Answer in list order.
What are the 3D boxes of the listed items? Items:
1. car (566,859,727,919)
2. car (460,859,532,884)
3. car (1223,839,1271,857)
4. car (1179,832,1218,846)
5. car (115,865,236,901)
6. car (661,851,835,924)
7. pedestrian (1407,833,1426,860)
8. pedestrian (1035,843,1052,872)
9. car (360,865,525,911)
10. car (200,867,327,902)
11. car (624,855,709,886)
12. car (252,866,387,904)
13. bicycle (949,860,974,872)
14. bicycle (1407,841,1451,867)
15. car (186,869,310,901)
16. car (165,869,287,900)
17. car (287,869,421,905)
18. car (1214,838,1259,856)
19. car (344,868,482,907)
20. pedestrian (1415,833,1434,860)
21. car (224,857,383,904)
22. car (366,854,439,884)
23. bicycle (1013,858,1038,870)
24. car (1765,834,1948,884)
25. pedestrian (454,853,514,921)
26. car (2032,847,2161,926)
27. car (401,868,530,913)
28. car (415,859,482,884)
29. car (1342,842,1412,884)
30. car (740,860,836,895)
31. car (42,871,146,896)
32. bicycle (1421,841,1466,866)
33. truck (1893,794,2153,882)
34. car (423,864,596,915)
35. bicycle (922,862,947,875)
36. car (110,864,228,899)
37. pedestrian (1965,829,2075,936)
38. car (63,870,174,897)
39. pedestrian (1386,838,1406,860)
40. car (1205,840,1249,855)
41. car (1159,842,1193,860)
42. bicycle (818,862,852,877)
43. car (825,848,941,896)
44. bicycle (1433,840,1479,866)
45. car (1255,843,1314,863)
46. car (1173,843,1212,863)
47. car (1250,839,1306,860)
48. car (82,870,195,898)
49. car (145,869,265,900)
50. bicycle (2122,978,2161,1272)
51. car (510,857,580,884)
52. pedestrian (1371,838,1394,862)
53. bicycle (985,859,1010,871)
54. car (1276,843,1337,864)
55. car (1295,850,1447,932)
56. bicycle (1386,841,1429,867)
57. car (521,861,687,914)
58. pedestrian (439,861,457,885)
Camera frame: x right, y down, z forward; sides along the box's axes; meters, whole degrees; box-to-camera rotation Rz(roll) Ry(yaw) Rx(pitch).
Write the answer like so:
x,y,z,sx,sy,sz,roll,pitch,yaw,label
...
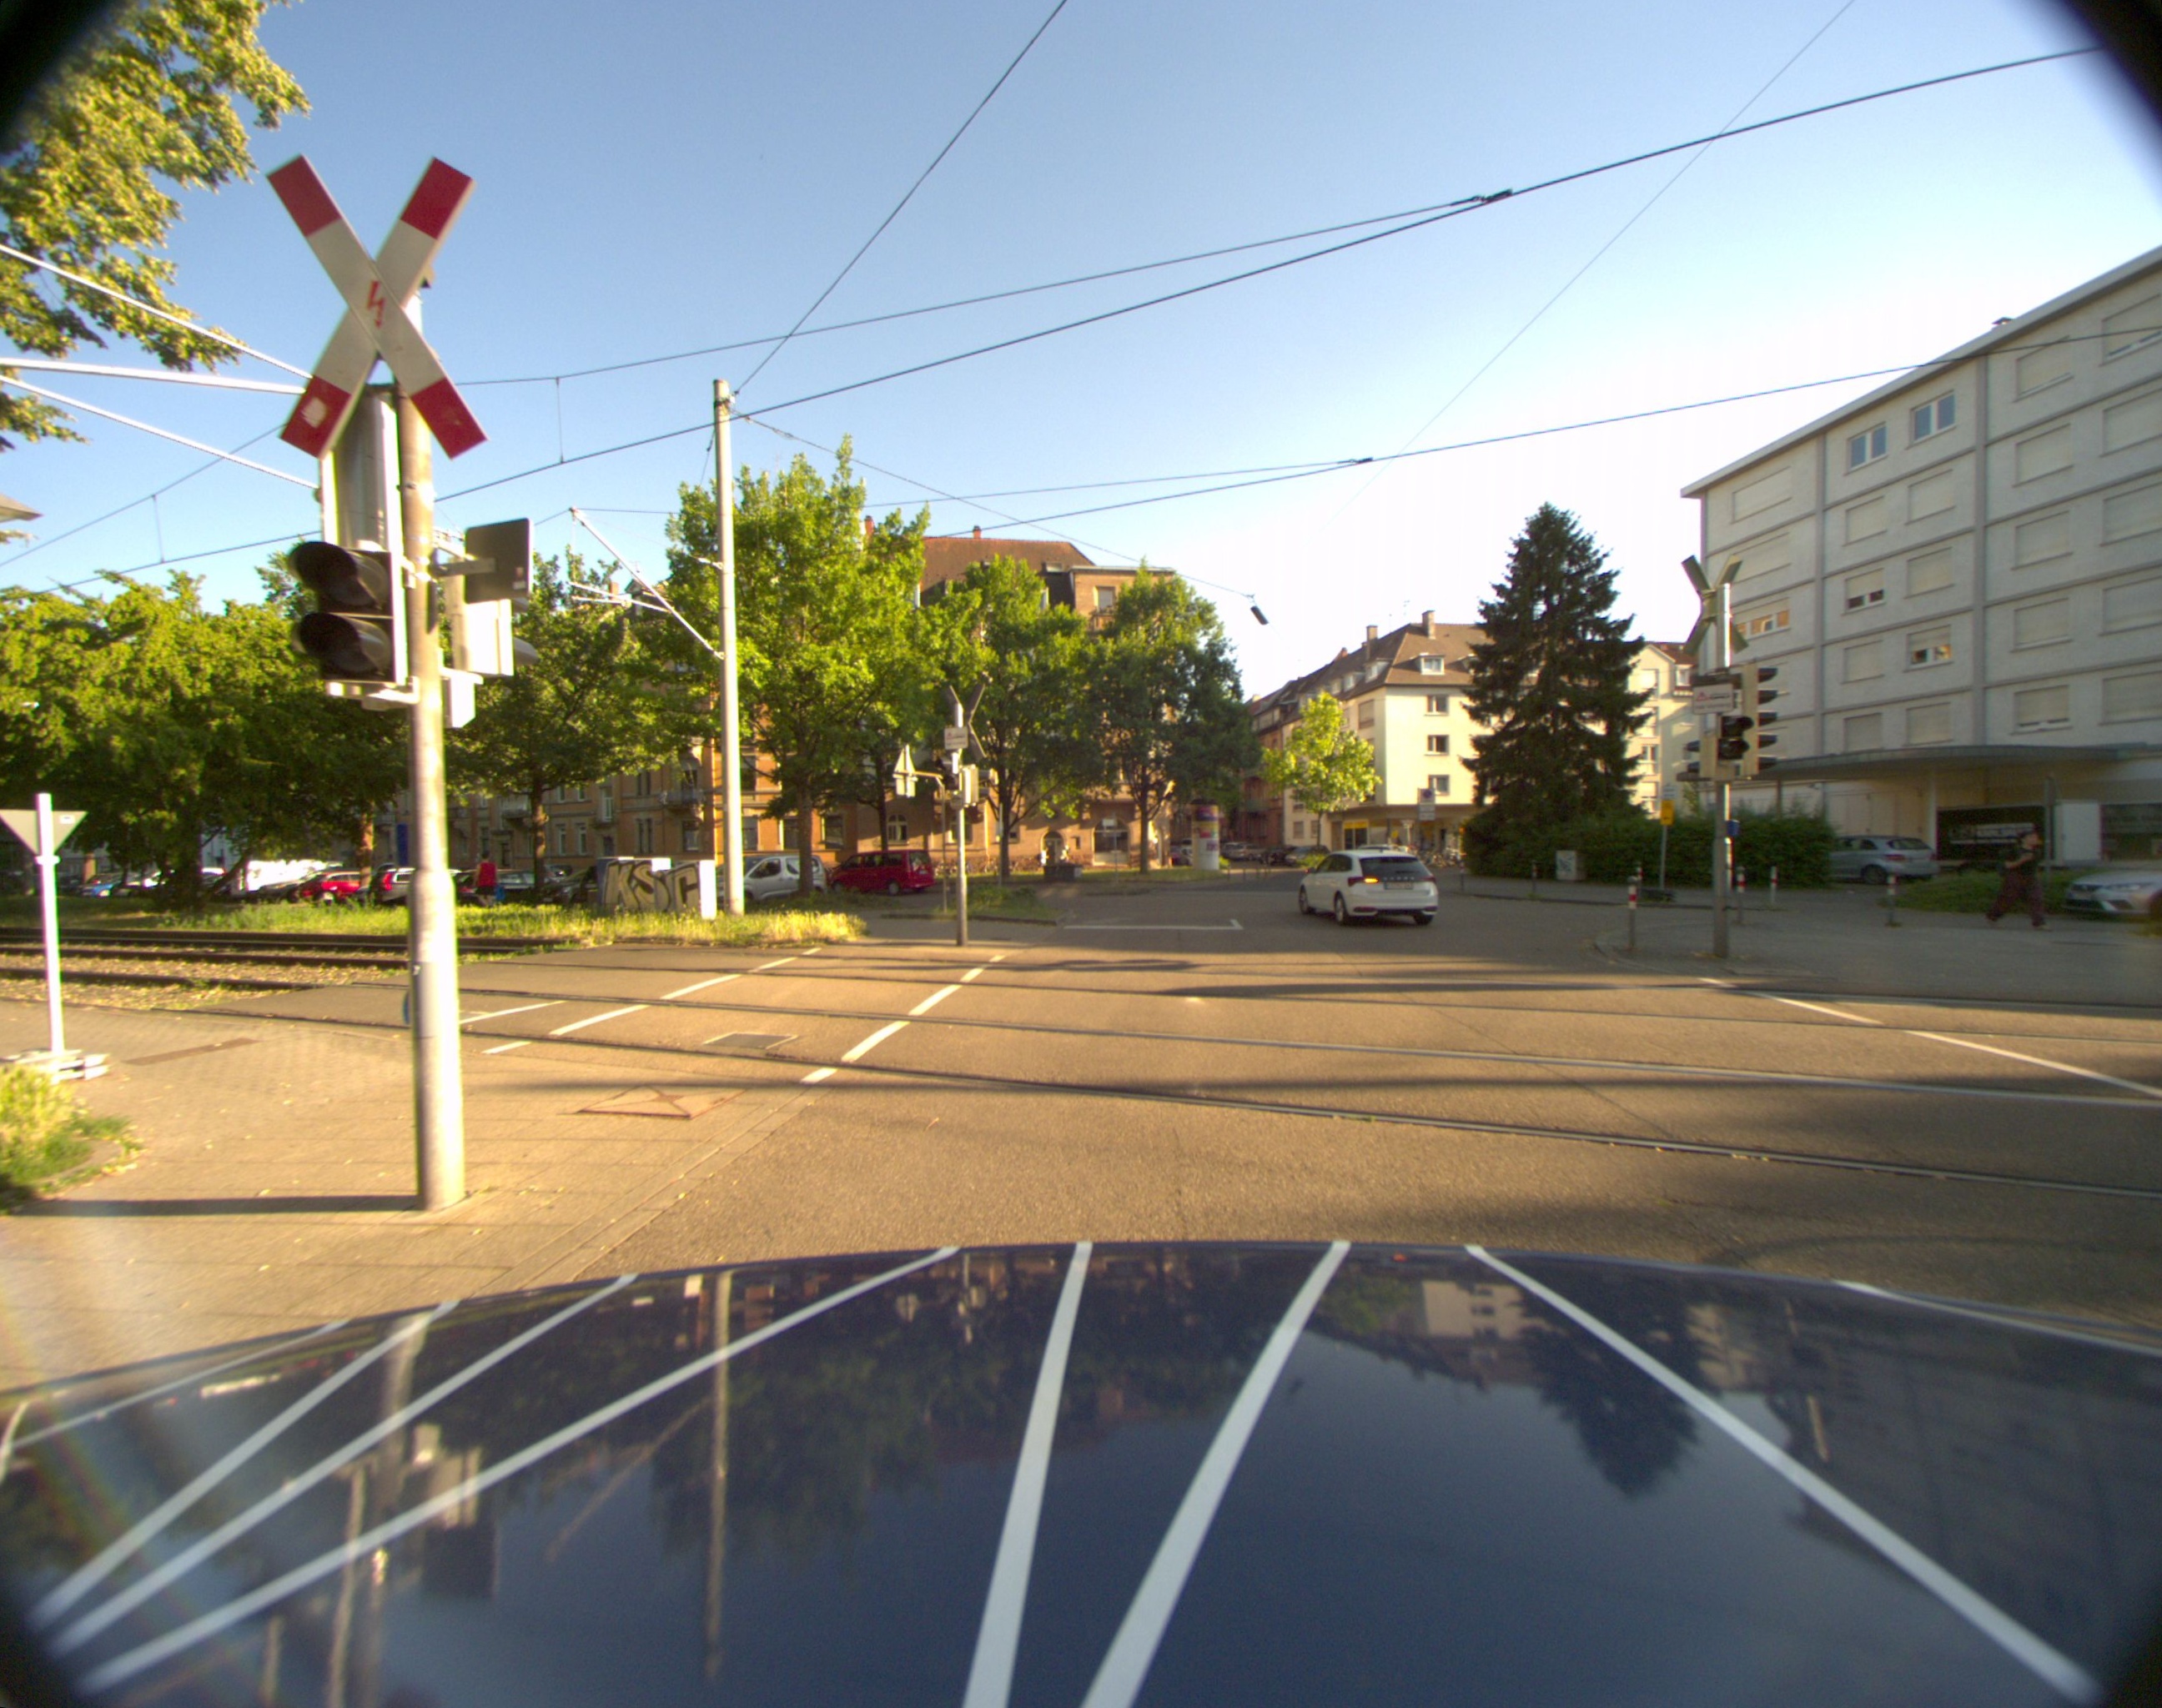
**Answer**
x,y,z,sx,sy,sz,roll,pitch,yaw,label
-14.434,1.084,25.560,1.945,1.681,4.456,0,1,21,car
-36.054,1.047,46.825,4.279,1.376,1.771,-1,3,27,car
14.614,-0.497,66.823,4.007,1.496,1.868,-2,1,-37,car
12.560,-1.598,81.171,4.007,1.392,1.868,-2,1,-37,car
-50.349,1.593,42.331,1.680,1.822,4.007,-1,0,27,car
-9.958,0.904,23.134,1.945,1.903,4.561,0,1,29,car
23.945,-0.540,54.203,0.891,1.864,0.851,-1,1,-8,pedestrian
-2.224,0.205,45.500,0.912,1.708,0.675,-2,0,-6,pedestrian
-25.830,1.315,30.948,1.994,1.563,4.724,0,1,29,car
-41.108,1.505,38.313,1.680,1.545,4.007,-1,0,27,car
-21.691,0.850,39.773,4.259,1.467,1.784,-1,3,28,car
-34.932,1.390,34.976,1.761,1.571,4.007,-1,0,24,car
-7.495,0.757,47.548,1.510,0.728,0.368,-1,1,-10,bicycle
21.119,-0.023,46.214,0.881,1.437,3.377,-1,2,-5,bicycle
-43.267,1.558,39.553,1.680,1.480,4.007,-1,0,27,car
-45.636,1.609,40.659,1.680,1.480,4.007,-1,0,27,car
-32.696,1.463,34.313,1.680,1.415,4.007,-1,0,27,car
14.323,-0.659,70.060,4.007,1.626,1.868,-2,1,-37,car
-28.144,1.374,32.150,1.680,1.452,4.007,-1,0,27,car
24.167,-0.506,53.435,0.891,1.864,0.851,-1,1,-8,pedestrian
-37.140,1.200,36.481,2.149,2.026,4.869,-1,0,27,car
-45.772,1.020,51.235,4.713,1.872,1.916,-1,3,26,car
-3.517,0.631,48.300,1.510,0.728,0.368,-3,2,-10,bicycle
26.062,0.141,25.757,1.999,1.524,3.998,-1,1,-4,car
-17.341,0.946,22.084,1.147,1.907,0.907,-1,1,27,pedestrian
21.389,0.581,14.327,3.991,1.437,1.719,-1,0,22,car
-23.663,1.357,29.334,1.714,1.505,3.415,-1,1,29,car
-40.667,1.115,48.880,3.878,1.430,1.771,-1,3,26,car
11.375,0.299,29.029,1.918,1.442,4.303,-2,0,29,car
-13.838,1.095,35.825,4.259,1.426,1.784,-1,3,28,car
-66.058,1.968,50.931,1.680,1.480,4.007,-1,0,27,car
22.176,-0.062,46.557,0.881,1.437,3.377,-1,2,-5,bicycle
30.149,-0.496,24.642,2.000,2.520,4.968,-1,1,-8,truck
-21.236,1.238,28.485,1.994,1.563,4.724,0,1,29,car
-9.031,0.875,46.908,1.510,0.728,0.368,-1,1,-10,bicycle
-52.314,1.556,43.675,1.680,1.822,4.007,-1,0,27,car
15.878,0.453,12.881,0.868,1.726,0.832,-1,3,25,pedestrian
-60.067,1.800,47.513,1.680,1.480,4.007,-1,0,27,car
22.674,-0.340,54.671,0.964,1.560,0.890,-1,1,-7,pedestrian
13.995,-0.646,72.802,4.007,1.392,1.868,-2,1,-37,car
7.650,-0.279,61.571,1.873,1.392,3.997,-1,1,-6,car
-15.075,0.969,46.572,1.899,0.843,0.525,-2,1,-9,bicycle
-8.665,0.781,33.157,4.760,1.923,1.784,-1,3,25,car
23.184,-0.117,47.064,0.881,1.437,3.376,-1,3,-5,bicycle
15.452,-0.088,57.662,4.005,1.392,1.869,-2,1,-25,car
8.263,-0.065,56.522,1.873,1.392,3.997,-1,1,-6,car
15.773,-0.359,60.964,4.004,1.559,1.870,-1,1,-22,car
-57.195,1.803,46.207,1.680,1.480,4.007,-1,0,27,car
-48.132,1.648,41.863,1.680,1.480,4.007,-1,0,27,car
3.981,1.008,1.762,0.699,1.048,2.126,-1,1,17,bicycle
-31.367,0.972,44.483,3.699,1.467,1.691,-1,3,27,car
21.444,-0.317,54.034,1.215,1.657,0.963,-1,1,-7,pedestrian
-5.279,0.703,48.130,1.510,0.728,0.368,-1,1,-10,bicycle
16.419,-0.062,55.386,4.005,1.392,1.869,-2,1,-25,car
5.782,0.655,15.694,1.706,1.448,4.062,-1,1,2,car
19.777,-0.023,46.135,0.881,1.437,3.377,-1,2,-5,bicycle
-16.641,1.106,26.800,1.945,1.563,4.561,0,1,29,car
-46.283,1.408,55.574,0.720,1.709,0.676,0,4,27,pedestrian
